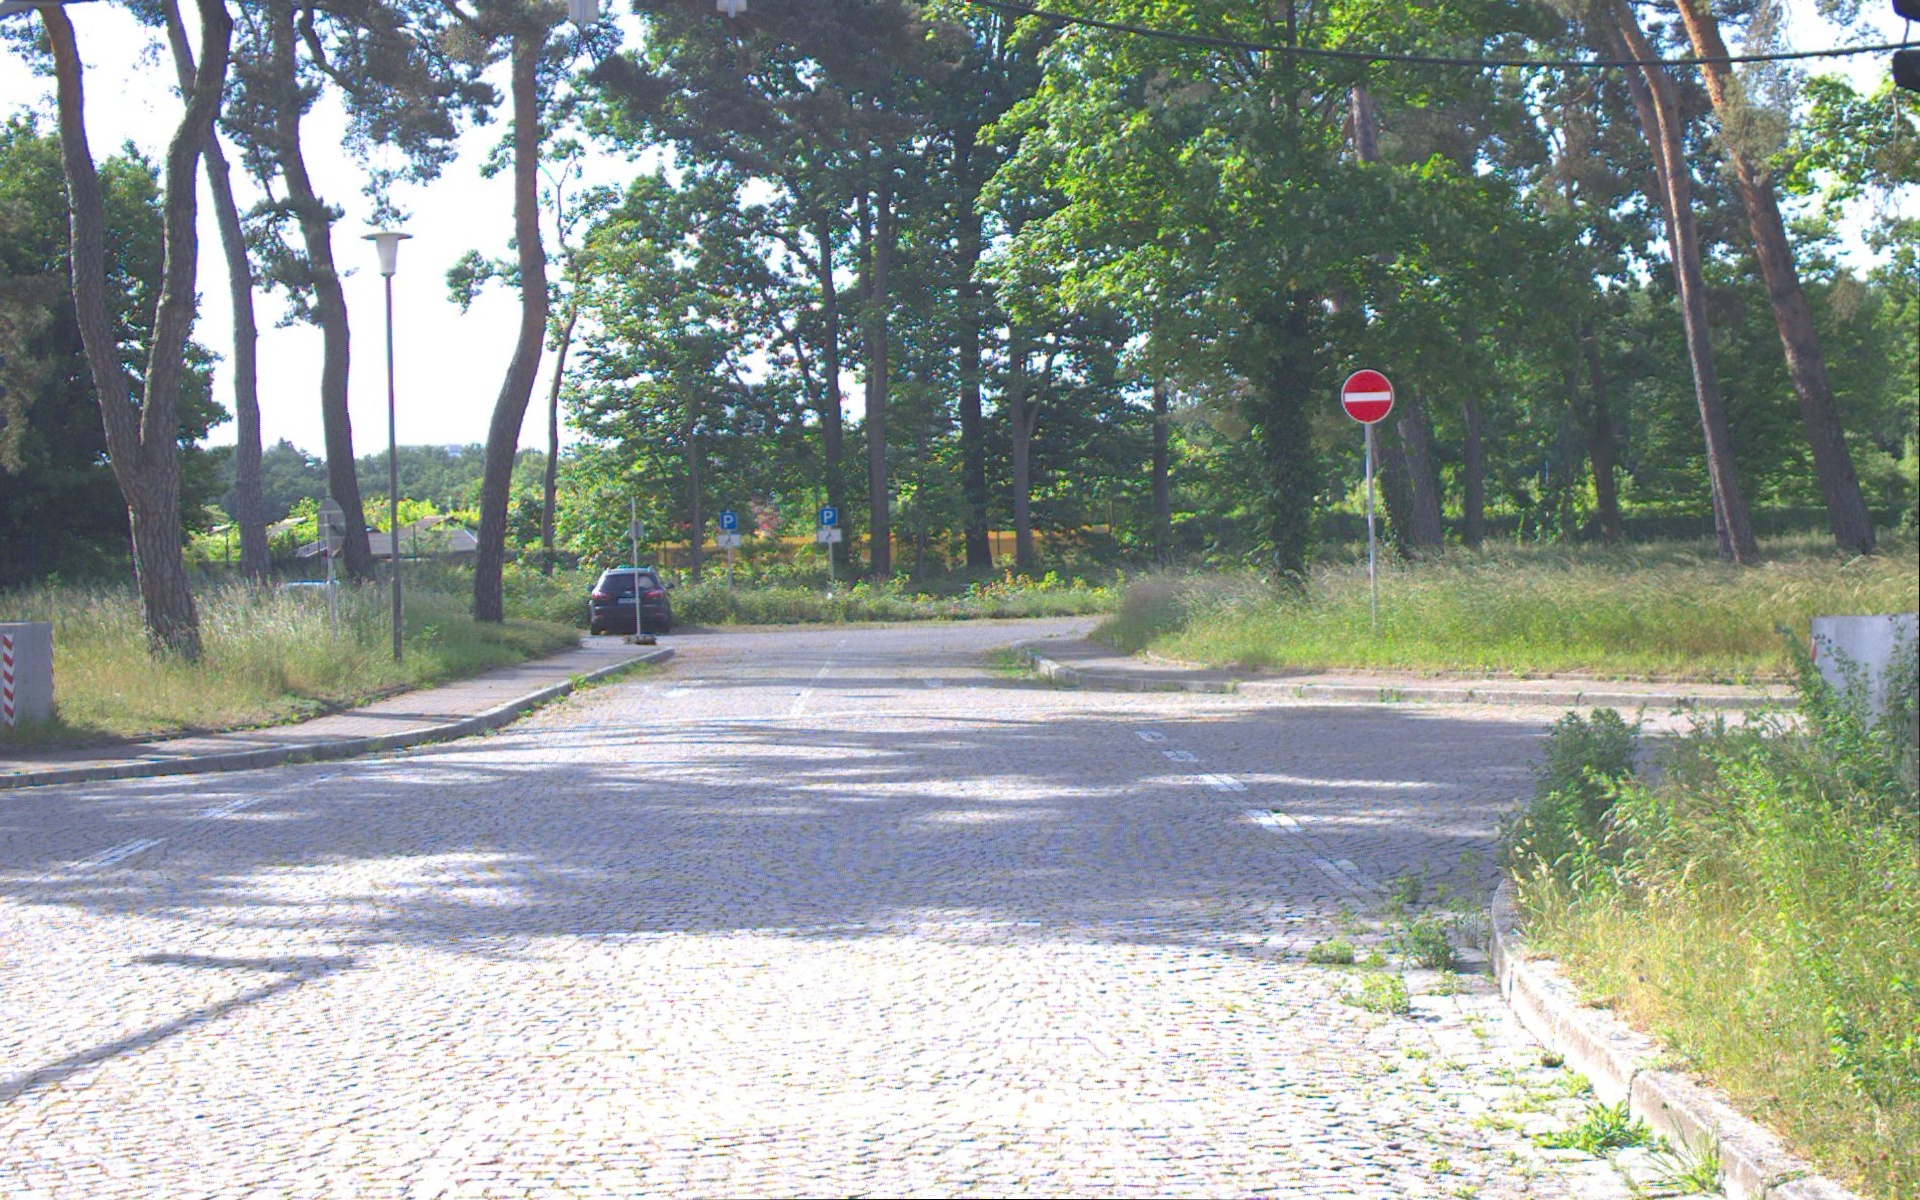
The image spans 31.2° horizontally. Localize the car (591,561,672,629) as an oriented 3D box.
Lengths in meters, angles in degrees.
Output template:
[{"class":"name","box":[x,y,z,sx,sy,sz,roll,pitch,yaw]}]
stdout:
[{"class":"car","box":[-7.666,-0.144,80.413,1.709,1.491,3.919,-2,1,-3]}]
